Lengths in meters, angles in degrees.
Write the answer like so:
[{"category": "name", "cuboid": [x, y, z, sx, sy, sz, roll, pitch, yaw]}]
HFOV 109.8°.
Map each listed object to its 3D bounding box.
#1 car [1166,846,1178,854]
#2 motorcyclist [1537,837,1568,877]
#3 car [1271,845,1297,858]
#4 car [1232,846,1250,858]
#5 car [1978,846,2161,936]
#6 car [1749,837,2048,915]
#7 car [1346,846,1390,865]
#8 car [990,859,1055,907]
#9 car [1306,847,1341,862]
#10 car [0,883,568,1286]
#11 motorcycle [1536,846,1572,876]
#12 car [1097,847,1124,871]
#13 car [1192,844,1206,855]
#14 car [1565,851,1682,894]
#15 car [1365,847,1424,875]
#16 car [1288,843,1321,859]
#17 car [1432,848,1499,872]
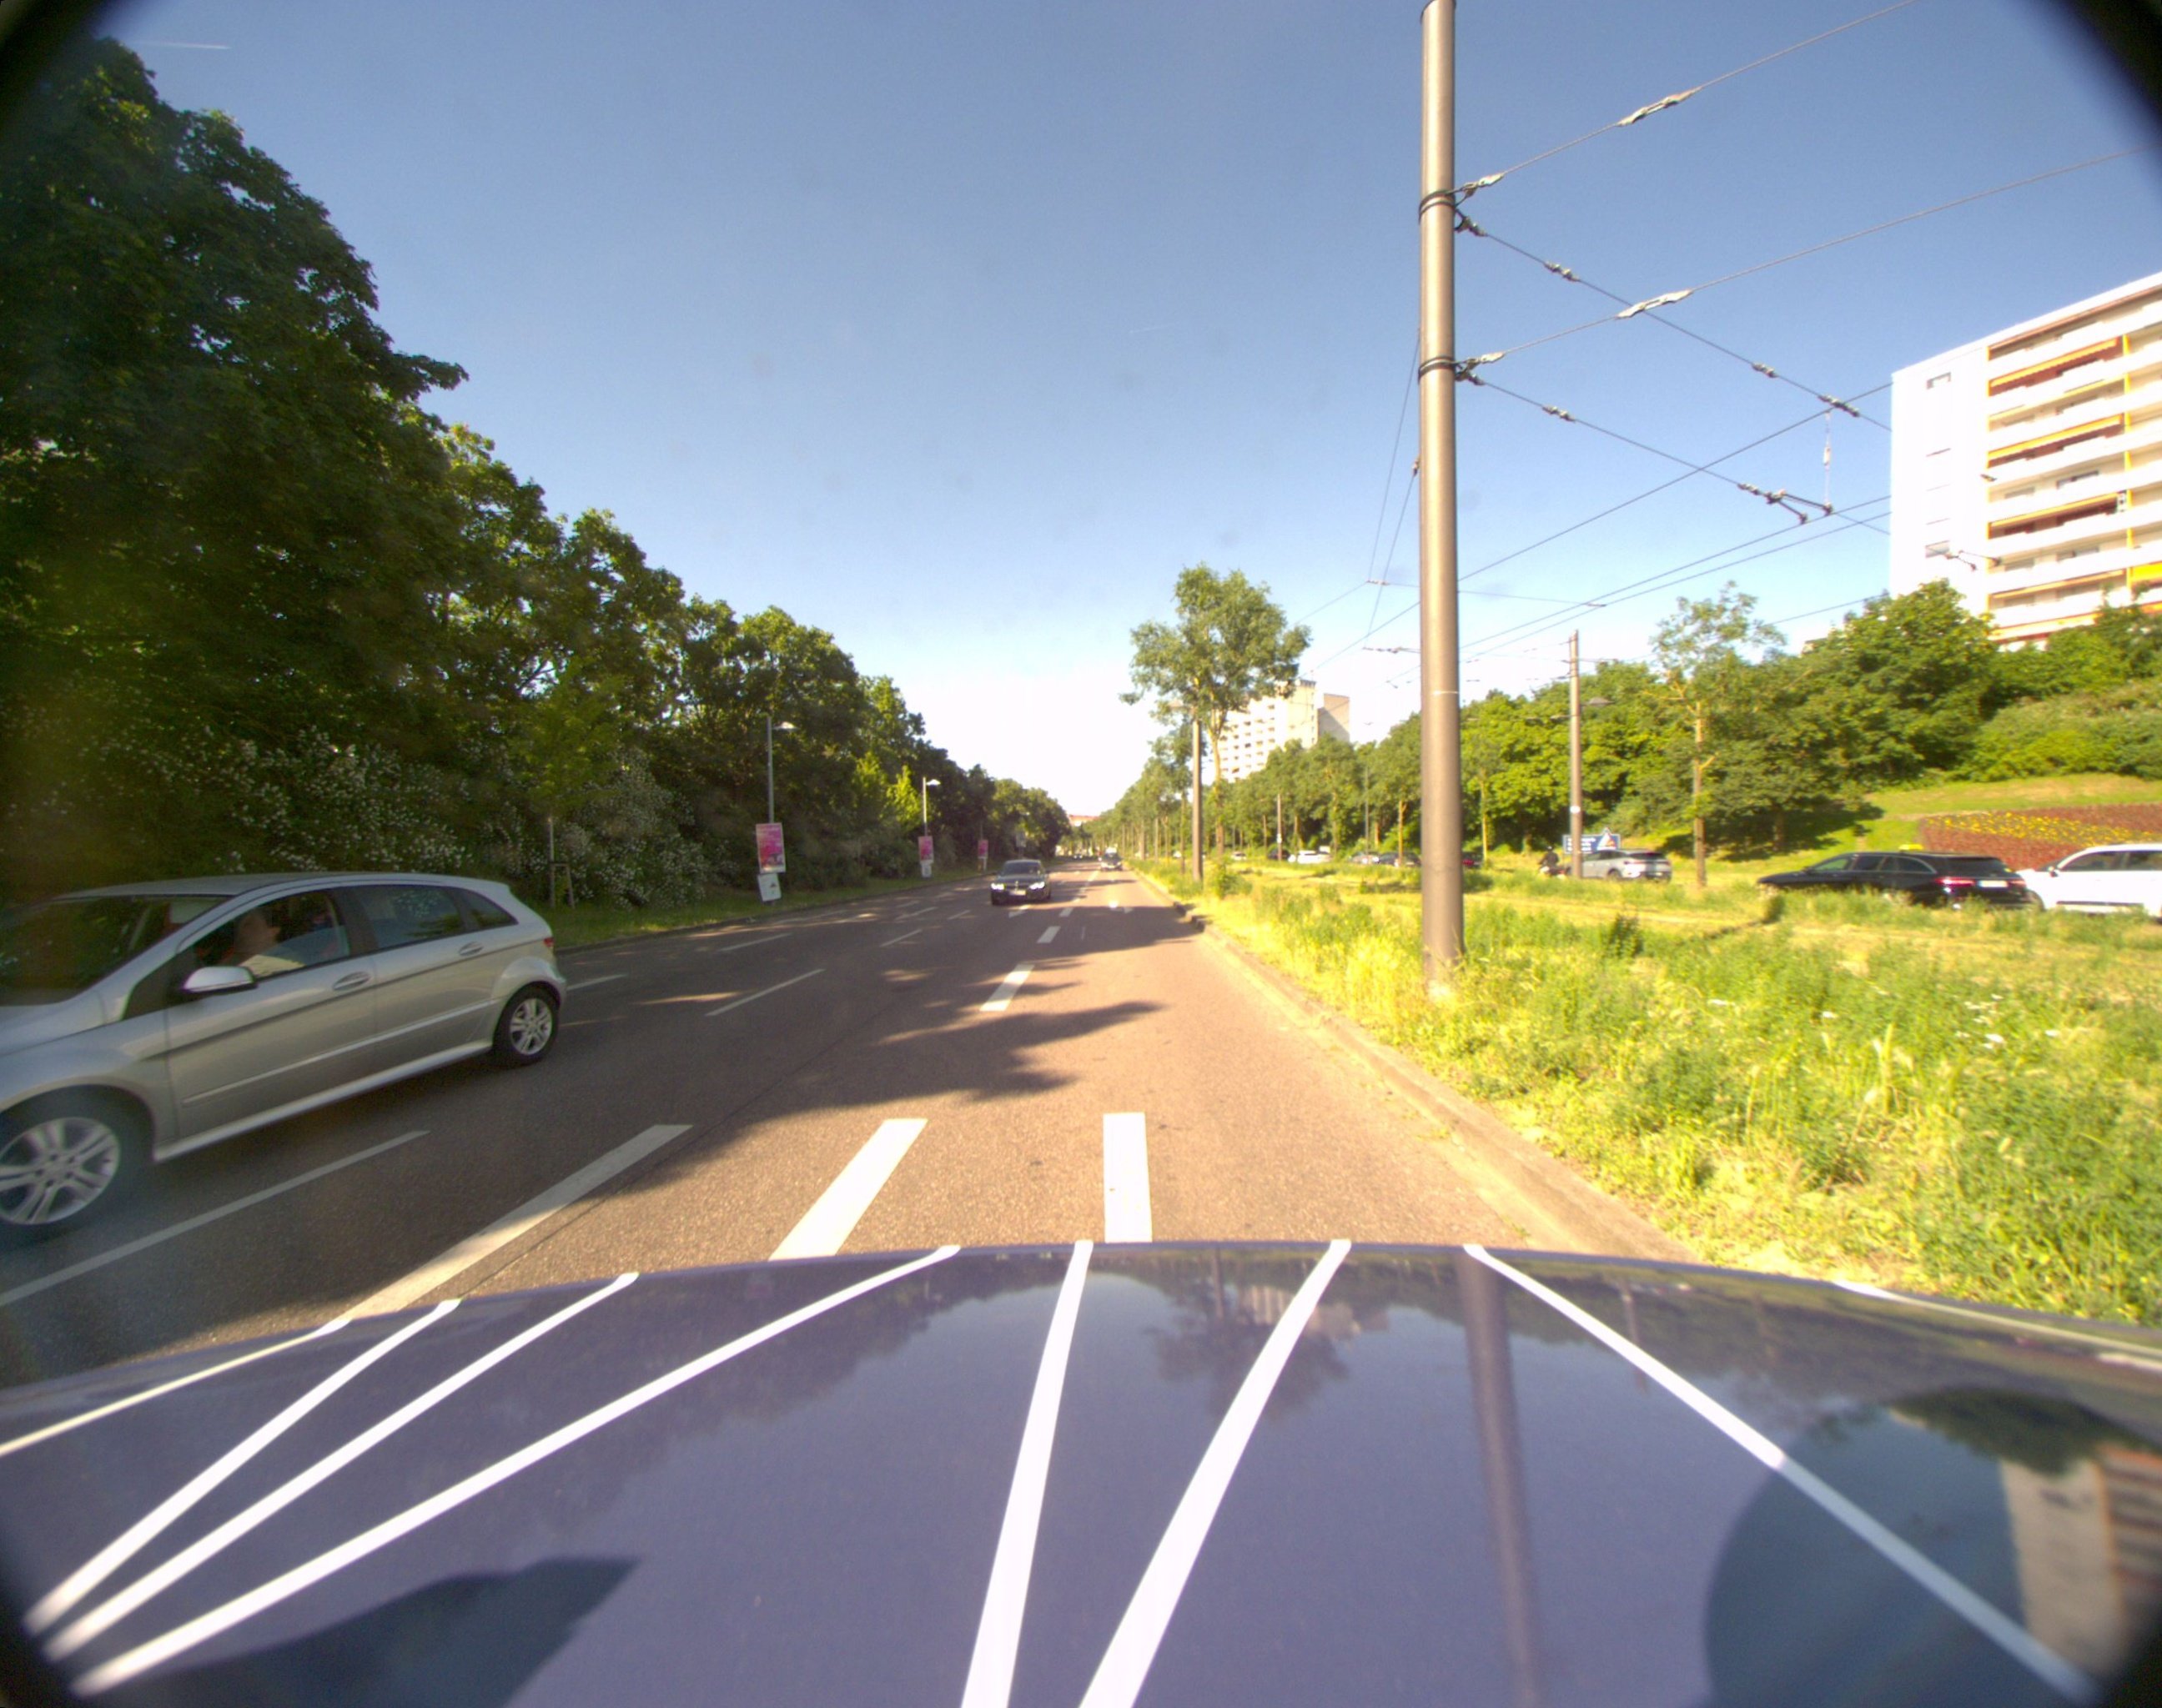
[{"category": "car", "cuboid": [17.797, -0.813, 148.571, 1.998, 1.401, 4.991, -2, 1, 4]}, {"category": "motorcyclist", "cuboid": [18.947, 0.121, 30.540, 0.836, 1.590, 0.640, -2, 1, 9]}, {"category": "car", "cuboid": [23.443, -0.305, 87.898, 1.998, 1.472, 4.631, -2, 1, 2]}, {"category": "car", "cuboid": [19.852, -0.290, 94.287, 1.592, 1.464, 4.183, -1, 0, 3]}, {"category": "car", "cuboid": [21.574, 0.693, 15.516, 1.805, 1.698, 4.060, 0, 1, 2]}, {"category": "car", "cuboid": [18.189, 0.405, 17.321, 1.880, 1.477, 4.604, -2, 1, 1]}, {"category": "car", "cuboid": [22.824, 0.110, 60.539, 1.998, 1.366, 4.400, -2, 1, 3]}, {"category": "car", "cuboid": [-1.949, 0.948, 26.536, 1.831, 1.401, 4.216, -2, 1, 1]}, {"category": "car", "cuboid": [23.572, 0.016, 74.059, 1.998, 1.424, 4.693, 0, 1, 2]}, {"category": "car", "cuboid": [-5.302, 1.040, 4.480, 1.672, 1.531, 4.060, -1, 0, 2]}, {"category": "motorcycle", "cuboid": [18.914, 0.266, 30.446, 0.422, 1.125, 2.096, -2, 1, 9]}, {"category": "car", "cuboid": [2.281, 0.356, 59.810, 1.998, 1.696, 3.999, -2, 1, 1]}, {"category": "car", "cuboid": [18.476, -0.694, 119.002, 1.767, 1.599, 3.758, 0, 1, 2]}, {"category": "car", "cuboid": [21.957, 0.691, 31.006, 1.842, 1.592, 4.438, -1, 1, 4]}, {"category": "car", "cuboid": [18.942, 0.373, 46.088, 1.998, 1.585, 4.465, 0, 1, 4]}, {"category": "car", "cuboid": [19.628, -0.265, 66.988, 1.707, 1.414, 4.643, -1, 0, 2]}, {"category": "car", "cuboid": [22.207, 0.312, 44.056, 1.866, 1.334, 4.031, 0, 1, 1]}]
